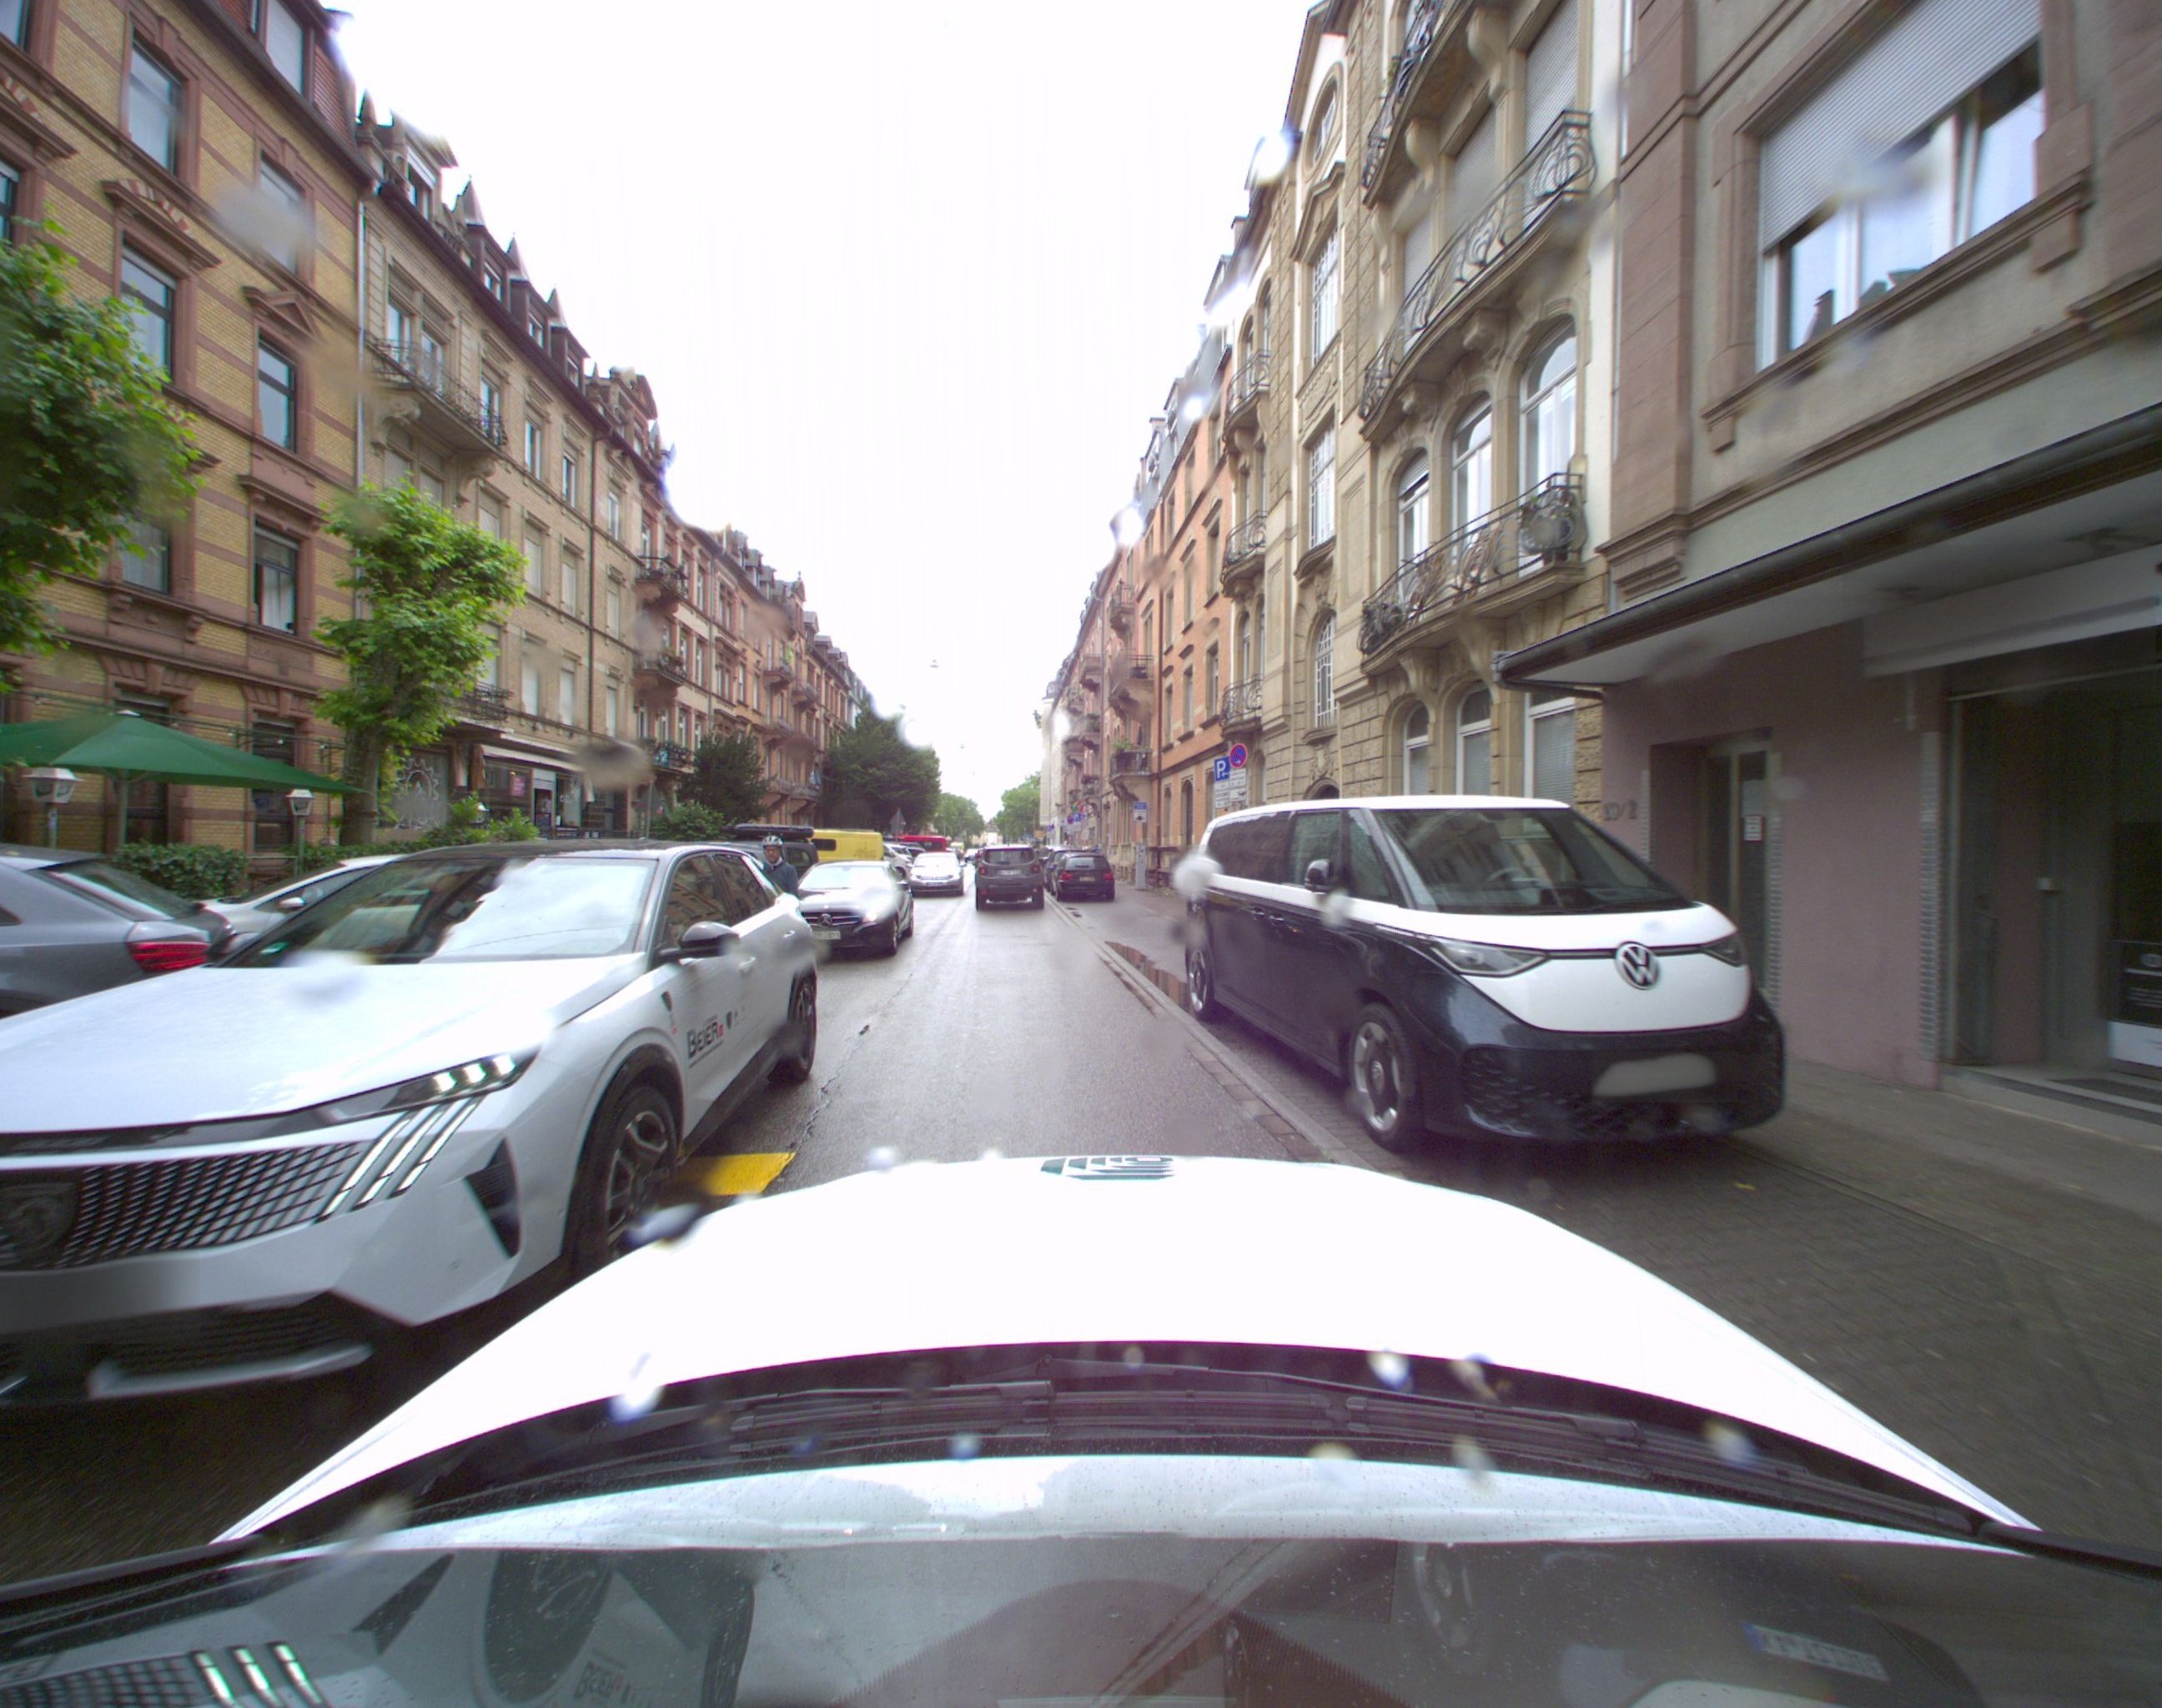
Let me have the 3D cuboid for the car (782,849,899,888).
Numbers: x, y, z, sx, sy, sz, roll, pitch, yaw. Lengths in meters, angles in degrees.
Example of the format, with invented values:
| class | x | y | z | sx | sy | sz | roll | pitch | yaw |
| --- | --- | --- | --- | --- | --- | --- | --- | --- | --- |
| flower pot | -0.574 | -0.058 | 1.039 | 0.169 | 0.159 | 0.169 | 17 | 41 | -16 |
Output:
| class | x | y | z | sx | sy | sz | roll | pitch | yaw |
| --- | --- | --- | --- | --- | --- | --- | --- | --- | --- |
| car | -9.359 | 0.542 | 31.804 | 4.016 | 1.436 | 1.765 | 1 | 0 | -35 |

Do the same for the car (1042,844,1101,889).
| class | x | y | z | sx | sy | sz | roll | pitch | yaw |
| --- | --- | --- | --- | --- | --- | --- | --- | --- | --- |
| car | -0.419 | 0.418 | 30.630 | 1.869 | 1.561 | 4.337 | -1 | 1 | -5 |

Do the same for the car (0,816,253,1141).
| class | x | y | z | sx | sy | sz | roll | pitch | yaw |
| --- | --- | --- | --- | --- | --- | --- | --- | --- | --- |
| car | -7.000 | 0.550 | 3.627 | 4.482 | 1.563 | 1.976 | 3 | -2 | -43 |

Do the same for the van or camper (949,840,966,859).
| class | x | y | z | sx | sy | sz | roll | pitch | yaw |
| --- | --- | --- | --- | --- | --- | --- | --- | --- | --- |
| van or camper | -19.072 | -0.635 | 126.276 | 2.119 | 2.531 | 6.859 | -3 | -1 | -6 |

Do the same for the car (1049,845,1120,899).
| class | x | y | z | sx | sy | sz | roll | pitch | yaw |
| --- | --- | --- | --- | --- | --- | --- | --- | --- | --- |
| car | 0.021 | 0.499 | 25.430 | 1.784 | 1.466 | 4.476 | 0 | 2 | -5 |

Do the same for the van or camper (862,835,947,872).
| class | x | y | z | sx | sy | sz | roll | pitch | yaw |
| --- | --- | --- | --- | --- | --- | --- | --- | --- | --- |
| van or camper | -11.696 | -0.058 | 54.105 | 5.043 | 2.349 | 2.321 | 1 | 1 | -32 |

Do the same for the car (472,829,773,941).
| class | x | y | z | sx | sy | sz | roll | pitch | yaw |
| --- | --- | --- | --- | --- | --- | --- | --- | --- | --- |
| car | -7.769 | 0.542 | 14.059 | 4.160 | 1.662 | 1.780 | 4 | -2 | -43 |

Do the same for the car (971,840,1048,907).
| class | x | y | z | sx | sy | sz | roll | pitch | yaw |
| --- | --- | --- | --- | --- | --- | --- | --- | --- | --- |
| car | -2.054 | 0.474 | 22.520 | 1.897 | 1.670 | 4.494 | 0 | 0 | -7 |

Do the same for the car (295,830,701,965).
| class | x | y | z | sx | sy | sz | roll | pitch | yaw |
| --- | --- | --- | --- | --- | --- | --- | --- | --- | --- |
| car | -7.656 | 0.579 | 11.036 | 4.159 | 1.494 | 1.780 | 4 | -3 | -41 |

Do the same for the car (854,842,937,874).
| class | x | y | z | sx | sy | sz | roll | pitch | yaw |
| --- | --- | --- | --- | --- | --- | --- | --- | --- | --- |
| car | -11.086 | 0.242 | 48.728 | 4.461 | 1.630 | 1.826 | 3 | 0 | -33 |

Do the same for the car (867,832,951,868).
| class | x | y | z | sx | sy | sz | roll | pitch | yaw |
| --- | --- | --- | --- | --- | --- | --- | --- | --- | --- |
| car | -12.497 | -0.262 | 59.313 | 5.595 | 2.541 | 2.206 | 1 | 1 | -34 |

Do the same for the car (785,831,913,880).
| class | x | y | z | sx | sy | sz | roll | pitch | yaw |
| --- | --- | --- | --- | --- | --- | --- | --- | --- | --- |
| car | -10.476 | 0.090 | 36.967 | 5.270 | 2.078 | 1.852 | 1 | -1 | -31 |

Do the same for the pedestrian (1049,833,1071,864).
| class | x | y | z | sx | sy | sz | roll | pitch | yaw |
| --- | --- | --- | --- | --- | --- | --- | --- | --- | --- |
| pedestrian | -1.400 | -0.386 | 54.513 | 0.672 | 1.939 | 0.813 | -1 | -35 | 29 |

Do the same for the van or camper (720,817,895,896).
| class | x | y | z | sx | sy | sz | roll | pitch | yaw |
| --- | --- | --- | --- | --- | --- | --- | --- | --- | --- |
| van or camper | -8.622 | 0.114 | 25.914 | 4.749 | 2.268 | 2.160 | 2 | 0 | -39 |

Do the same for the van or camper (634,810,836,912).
| class | x | y | z | sx | sy | sz | roll | pitch | yaw |
| --- | --- | --- | --- | --- | --- | --- | --- | --- | --- |
| van or camper | -8.379 | 0.246 | 19.897 | 4.103 | 2.240 | 1.915 | 4 | -2 | -39 |

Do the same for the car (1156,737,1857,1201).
| class | x | y | z | sx | sy | sz | roll | pitch | yaw |
| --- | --- | --- | --- | --- | --- | --- | --- | --- | --- |
| car | 2.171 | 0.457 | 6.148 | 1.993 | 1.939 | 5.215 | -1 | 0 | -9 |

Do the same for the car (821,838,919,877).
| class | x | y | z | sx | sy | sz | roll | pitch | yaw |
| --- | --- | --- | --- | --- | --- | --- | --- | --- | --- |
| car | -10.913 | 0.175 | 42.492 | 4.574 | 1.785 | 2.539 | 3 | 0 | -7 |

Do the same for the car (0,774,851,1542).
| class | x | y | z | sx | sy | sz | roll | pitch | yaw |
| --- | --- | --- | --- | --- | --- | --- | --- | --- | --- |
| car | -2.620 | 0.669 | 4.248 | 1.856 | 1.660 | 4.998 | 0 | 0 | -6 |

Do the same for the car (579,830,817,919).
| class | x | y | z | sx | sy | sz | roll | pitch | yaw |
| --- | --- | --- | --- | --- | --- | --- | --- | --- | --- |
| car | -7.978 | 0.473 | 17.211 | 4.160 | 1.662 | 1.779 | 4 | -3 | -43 |

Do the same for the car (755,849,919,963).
| class | x | y | z | sx | sy | sz | roll | pitch | yaw |
| --- | --- | --- | --- | --- | --- | --- | --- | --- | --- |
| car | -3.730 | 0.700 | 13.187 | 1.793 | 1.494 | 4.129 | -1 | 0 | -7 |

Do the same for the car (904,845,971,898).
| class | x | y | z | sx | sy | sz | roll | pitch | yaw |
| --- | --- | --- | --- | --- | --- | --- | --- | --- | --- |
| car | -5.003 | 0.538 | 28.921 | 1.792 | 1.493 | 4.576 | 5 | 1 | -5 |

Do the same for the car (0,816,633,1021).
| class | x | y | z | sx | sy | sz | roll | pitch | yaw |
| --- | --- | --- | --- | --- | --- | --- | --- | --- | --- |
| car | -7.537 | 0.553 | 8.407 | 4.749 | 1.563 | 1.977 | 3 | 0 | -40 |

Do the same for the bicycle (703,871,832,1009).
| class | x | y | z | sx | sy | sz | roll | pitch | yaw |
| --- | --- | --- | --- | --- | --- | --- | --- | --- | --- |
| bicycle | -3.304 | 0.836 | 8.819 | 0.769 | 1.180 | 2.264 | -1 | 2 | -8 |

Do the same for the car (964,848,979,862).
| class | x | y | z | sx | sy | sz | roll | pitch | yaw |
| --- | --- | --- | --- | --- | --- | --- | --- | --- | --- |
| car | -12.540 | 0.120 | 92.835 | 1.669 | 1.559 | 3.992 | 0 | 0 | -8 |

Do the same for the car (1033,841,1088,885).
| class | x | y | z | sx | sy | sz | roll | pitch | yaw |
| --- | --- | --- | --- | --- | --- | --- | --- | --- | --- |
| car | -0.977 | 0.362 | 35.716 | 1.992 | 1.779 | 4.814 | 0 | 0 | -7 |
